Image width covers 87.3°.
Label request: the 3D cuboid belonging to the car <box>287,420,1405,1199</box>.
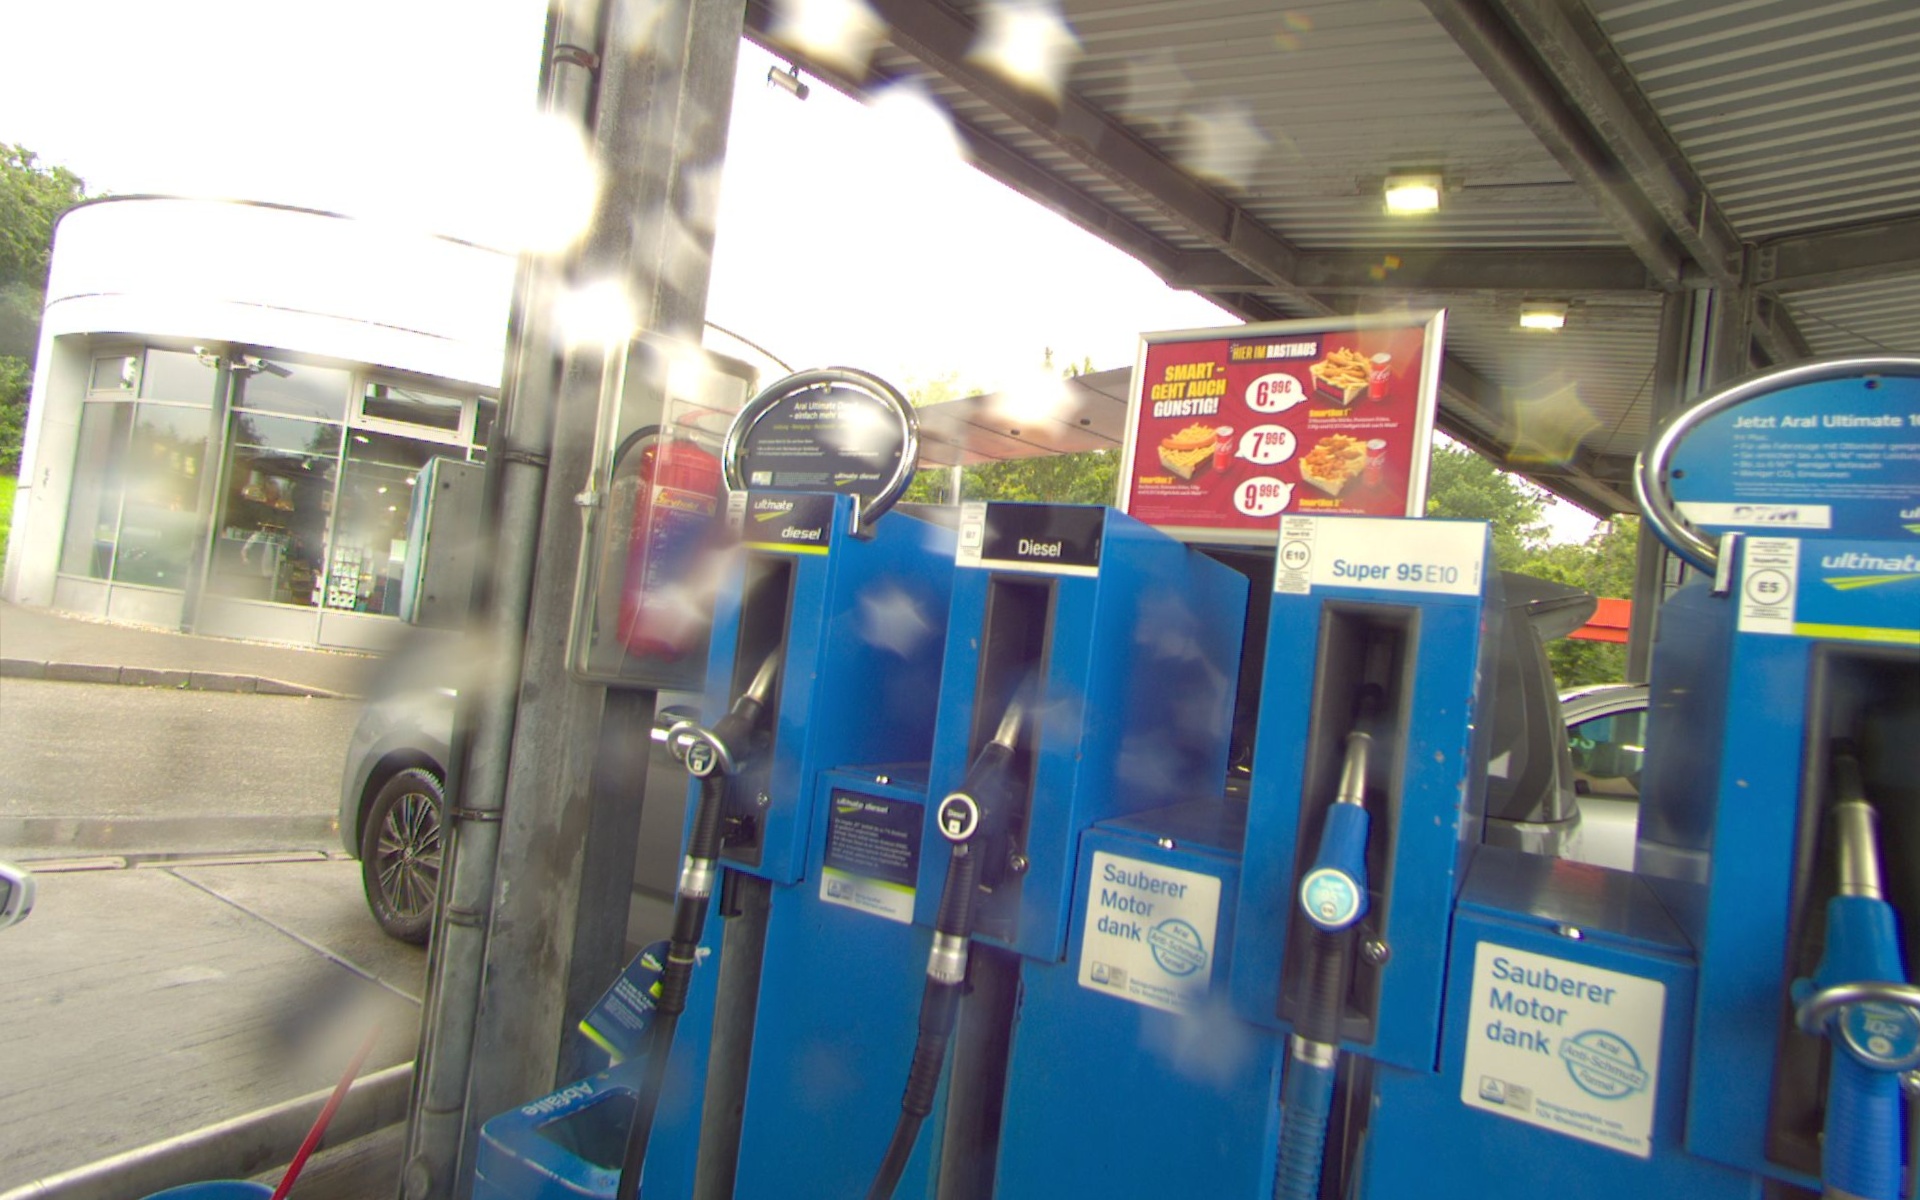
[{"bbox_3d":[-0.595,0.502,3.991,3.934,1.971,1.819,7,-1,32],"label":"car"}]

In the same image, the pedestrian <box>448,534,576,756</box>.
[{"bbox_3d":[-3.841,0.376,8.680,0.786,1.755,0.835,7,0,-23],"label":"pedestrian"}]
